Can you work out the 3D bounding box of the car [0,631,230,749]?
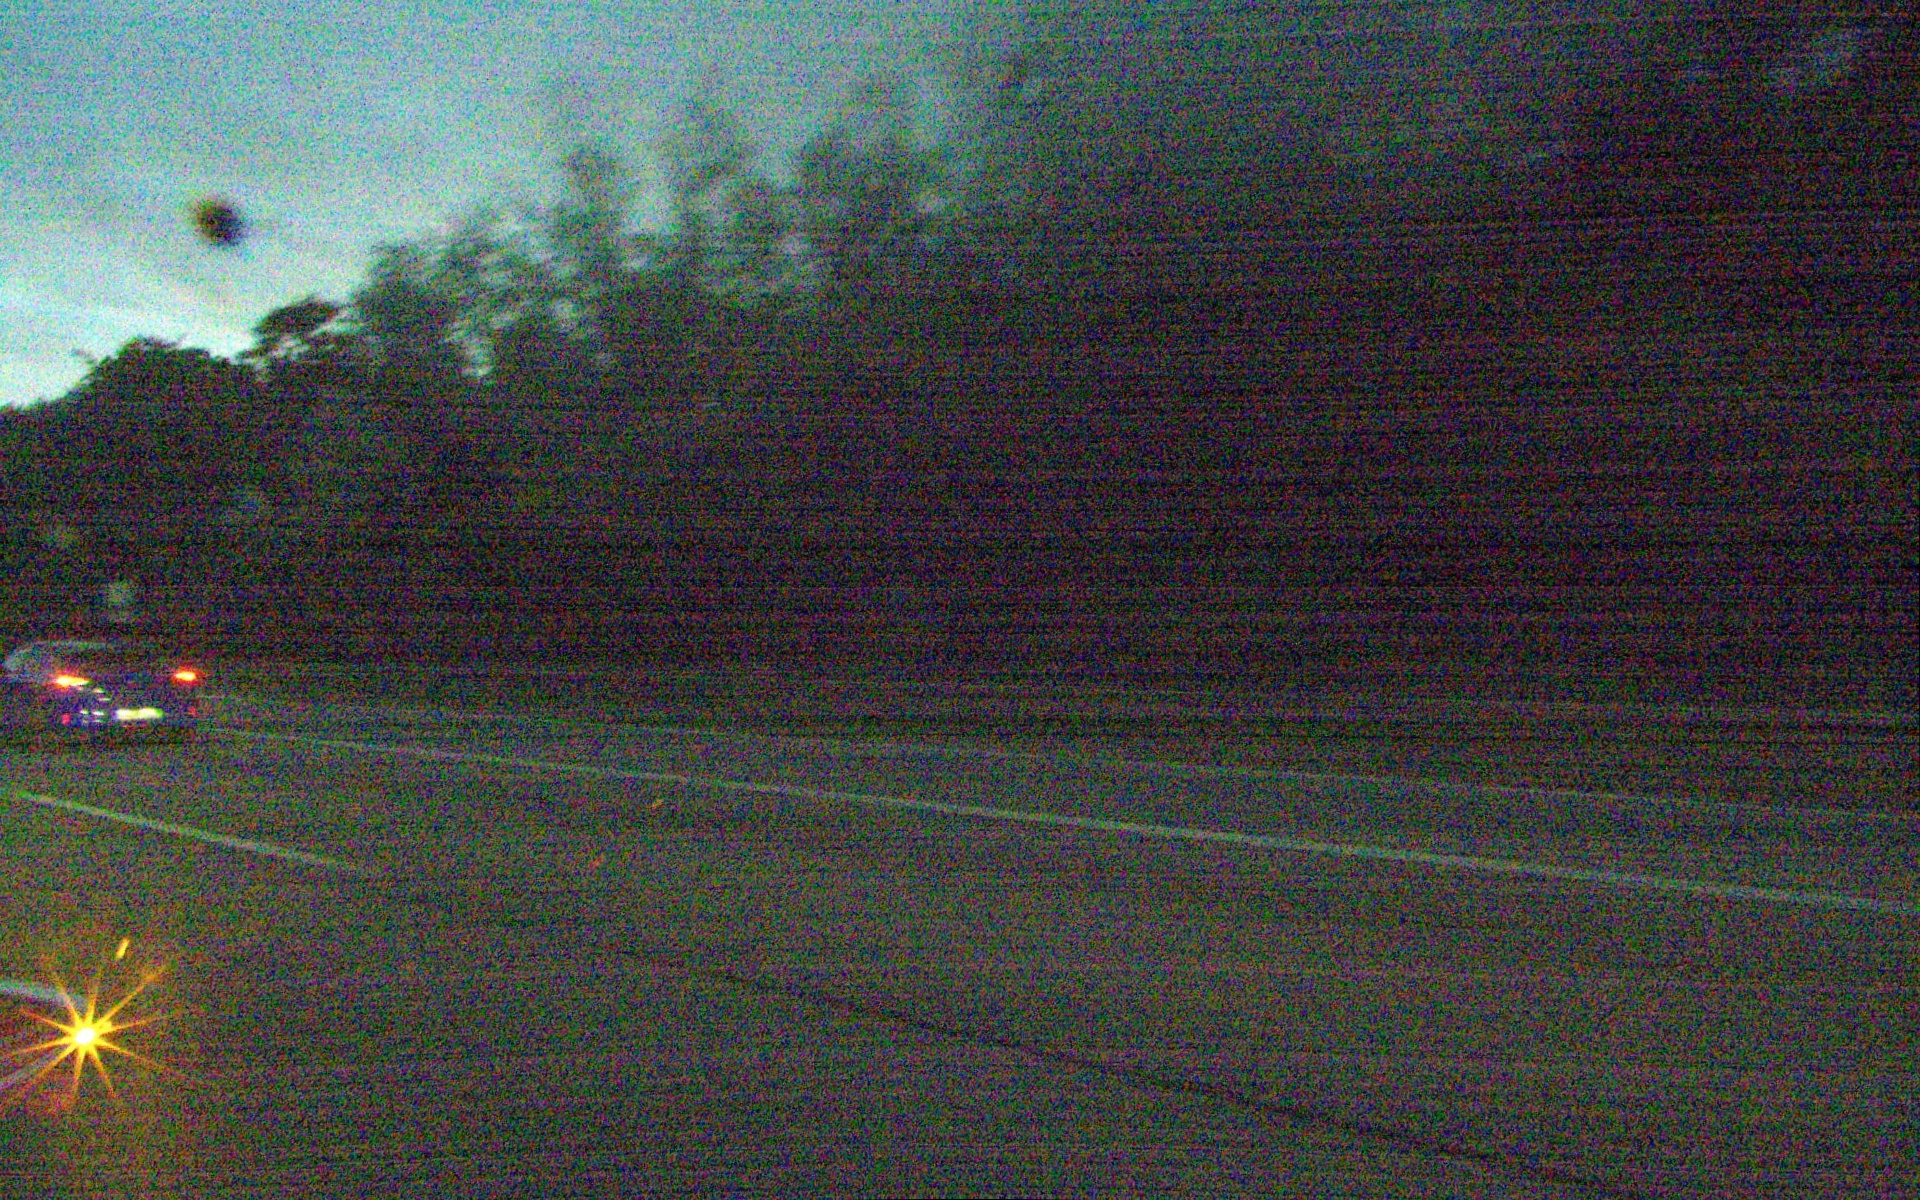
[{"bbox_3d":[-12.662,1.188,14.410,4.516,1.454,1.863,-1,-2,31],"label":"car"}]
